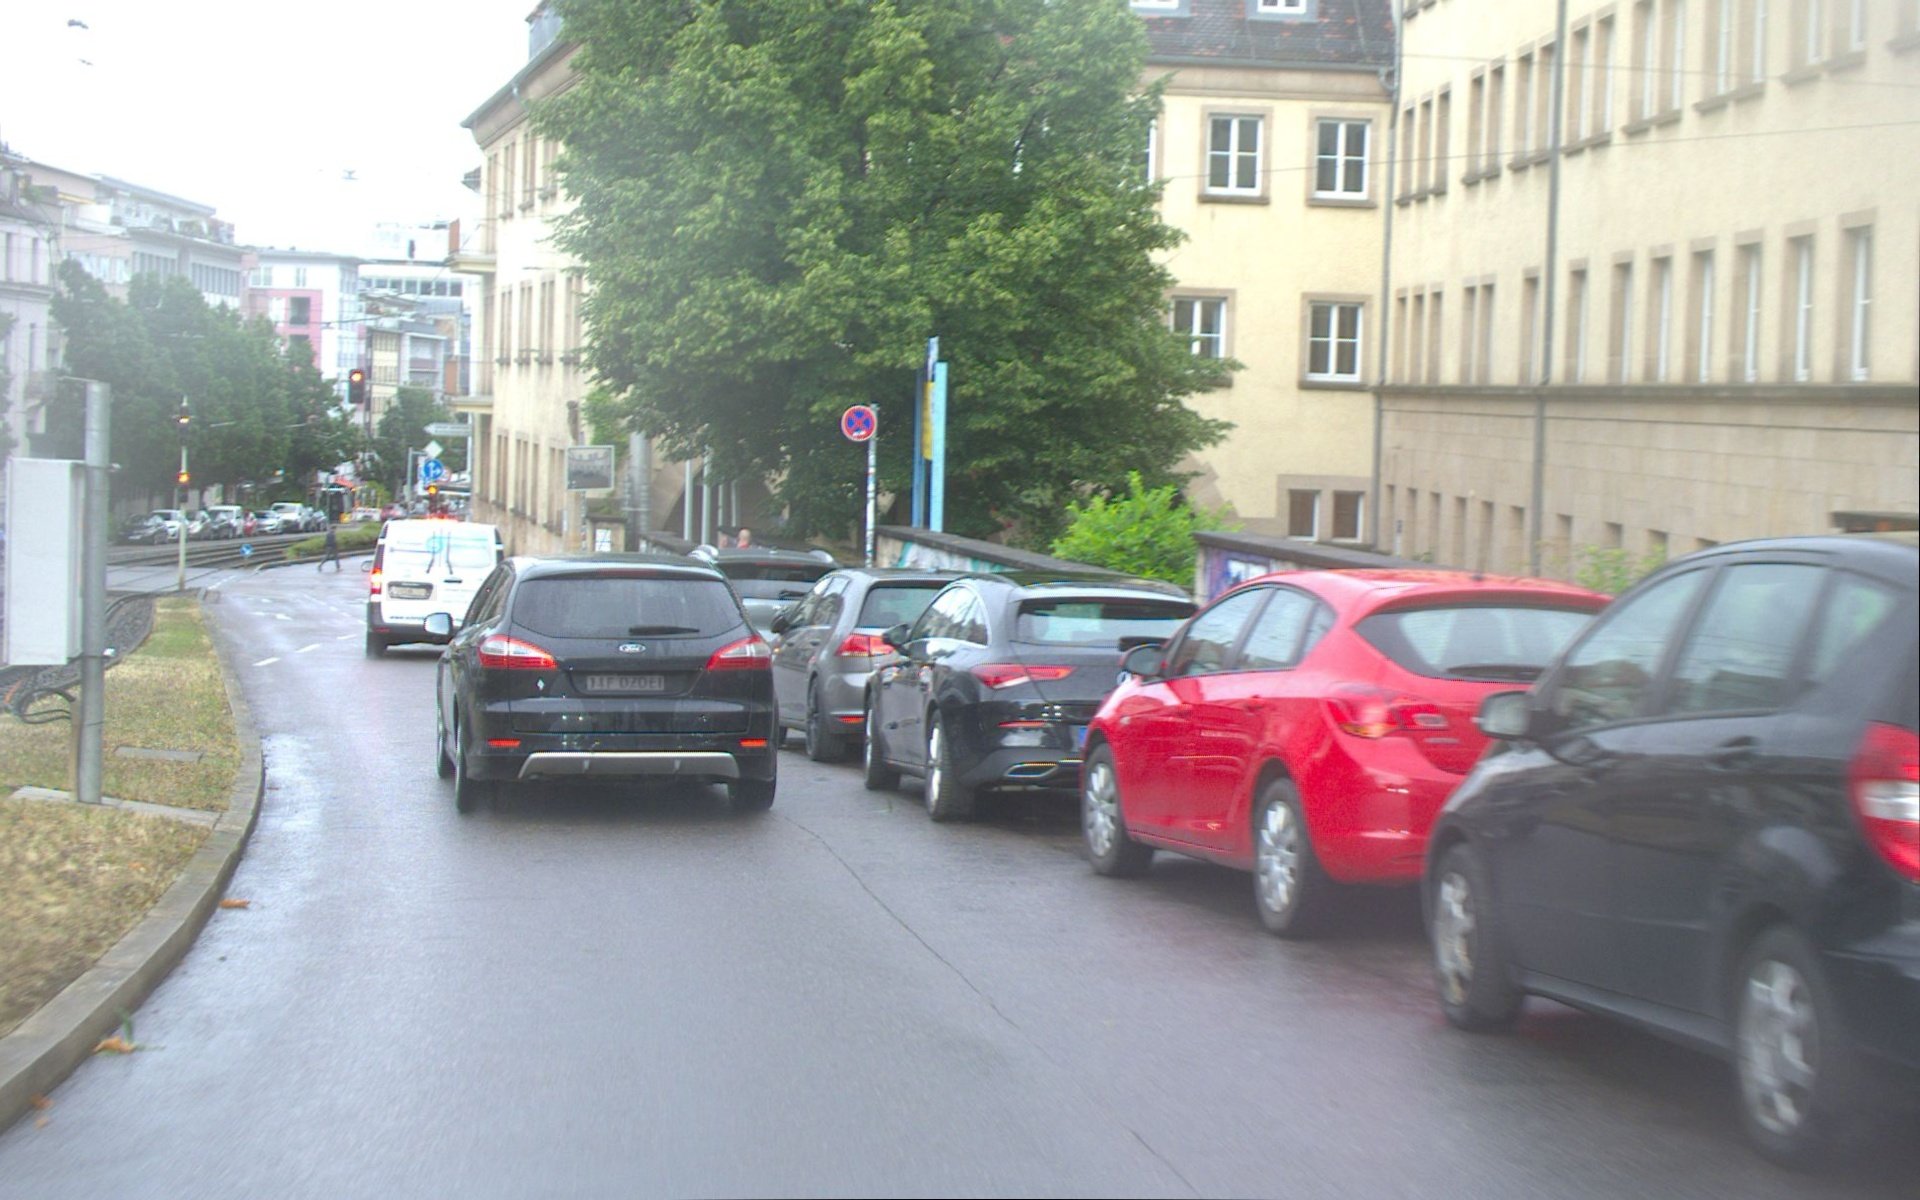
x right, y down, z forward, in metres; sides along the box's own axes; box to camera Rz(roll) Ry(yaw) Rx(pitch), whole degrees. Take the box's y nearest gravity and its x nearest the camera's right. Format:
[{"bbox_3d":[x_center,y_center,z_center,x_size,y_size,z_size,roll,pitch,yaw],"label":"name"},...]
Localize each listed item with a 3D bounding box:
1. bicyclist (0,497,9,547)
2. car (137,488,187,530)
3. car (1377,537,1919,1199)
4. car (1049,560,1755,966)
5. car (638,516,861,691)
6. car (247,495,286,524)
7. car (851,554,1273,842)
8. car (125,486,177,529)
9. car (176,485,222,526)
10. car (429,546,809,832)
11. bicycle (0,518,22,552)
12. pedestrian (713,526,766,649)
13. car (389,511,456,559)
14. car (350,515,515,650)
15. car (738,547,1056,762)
[{"bbox_3d":[-30.474,-2.460,108.467,0.462,1.568,0.700,2,1,40],"label":"bicyclist"},{"bbox_3d":[-39.582,-4.525,170.557,1.993,2.007,4.001,1,1,-8],"label":"car"},{"bbox_3d":[2.552,0.609,9.775,1.665,1.567,3.857,0,1,-10],"label":"car"},{"bbox_3d":[1.741,0.605,14.969,1.665,1.471,4.067,2,1,-13],"label":"car"},{"bbox_3d":[-2.030,-0.017,32.179,1.665,1.519,4.110,0,1,-9],"label":"car"},{"bbox_3d":[-40.581,-5.292,201.222,1.993,1.656,4.001,1,1,-8],"label":"car"},{"bbox_3d":[0.477,0.484,20.361,1.665,1.471,4.459,0,1,-9],"label":"car"},{"bbox_3d":[-38.638,-4.403,164.321,1.993,2.007,4.001,1,1,-8],"label":"car"},{"bbox_3d":[-39.179,-4.859,177.047,1.993,2.007,4.001,1,1,-8],"label":"car"},{"bbox_3d":[-2.141,0.449,20.562,1.919,1.474,4.001,0,2,-10],"label":"car"},{"bbox_3d":[-30.529,-2.060,108.482,0.457,1.060,1.798,3,1,40],"label":"bicycle"},{"bbox_3d":[-3.098,-0.181,48.286,0.632,1.715,0.711,0,1,-11],"label":"pedestrian"},{"bbox_3d":[-20.251,-2.452,129.679,1.993,1.766,4.001,1,1,-2],"label":"car"},{"bbox_3d":[-7.274,-0.278,47.500,2.136,1.739,4.219,0,2,-8],"label":"car"},{"bbox_3d":[-0.562,0.351,26.225,1.665,1.471,4.110,0,1,-12],"label":"car"}]
